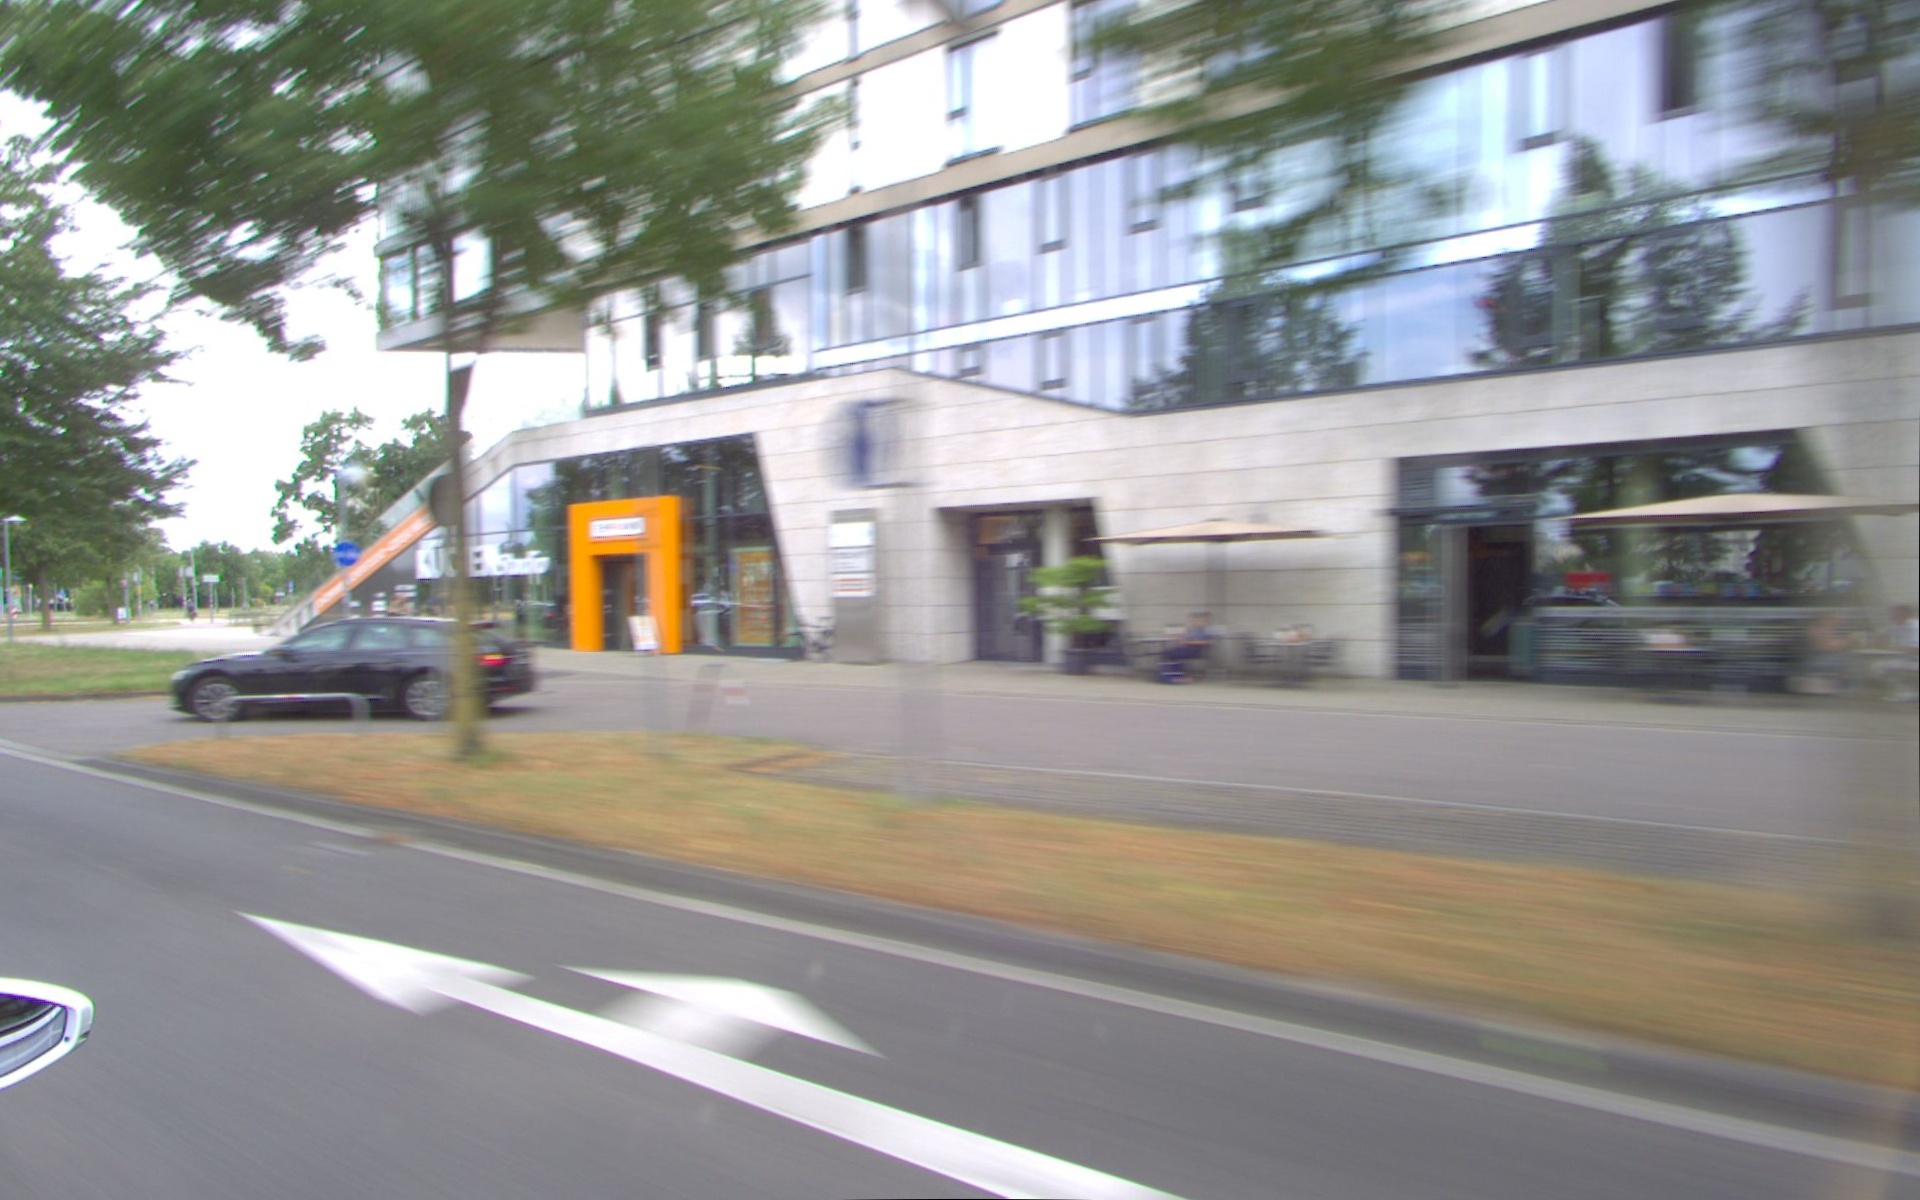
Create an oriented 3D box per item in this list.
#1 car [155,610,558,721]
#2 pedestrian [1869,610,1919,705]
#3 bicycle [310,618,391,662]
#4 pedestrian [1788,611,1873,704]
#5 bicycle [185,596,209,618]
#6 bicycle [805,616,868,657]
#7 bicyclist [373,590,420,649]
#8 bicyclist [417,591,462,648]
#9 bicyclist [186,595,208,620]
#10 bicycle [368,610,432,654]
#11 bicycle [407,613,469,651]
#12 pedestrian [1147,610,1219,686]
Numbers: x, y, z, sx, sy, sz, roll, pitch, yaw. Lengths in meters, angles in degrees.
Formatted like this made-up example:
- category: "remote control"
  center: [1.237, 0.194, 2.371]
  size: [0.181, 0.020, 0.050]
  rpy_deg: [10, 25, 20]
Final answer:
- category: "car"
  center: [-8.778, 0.917, 14.936]
  size: [4.776, 1.495, 1.947]
  rpy_deg: [0, 0, -3]
- category: "pedestrian"
  center: [12.443, 0.736, 13.070]
  size: [0.748, 1.208, 0.717]
  rpy_deg: [0, 1, 34]
- category: "bicycle"
  center: [-14.199, 0.920, 23.322]
  size: [2.075, 0.968, 0.629]
  rpy_deg: [0, 1, 28]
- category: "pedestrian"
  center: [11.741, 0.753, 13.531]
  size: [0.748, 1.208, 0.717]
  rpy_deg: [0, 1, 31]
- category: "bicycle"
  center: [-55.184, 0.512, 72.395]
  size: [1.979, 1.525, 0.704]
  rpy_deg: [-1, -2, 32]
- category: "bicycle"
  center: [-2.892, 0.848, 23.469]
  size: [1.472, 0.922, 0.517]
  rpy_deg: [0, 1, 33]
- category: "bicyclist"
  center: [-15.481, 0.530, 27.521]
  size: [0.975, 1.603, 0.723]
  rpy_deg: [0, 2, 32]
- category: "bicyclist"
  center: [-14.878, 0.557, 28.616]
  size: [0.975, 1.603, 0.723]
  rpy_deg: [0, 1, 32]
- category: "bicyclist"
  center: [-55.051, 0.539, 72.273]
  size: [1.157, 1.813, 0.865]
  rpy_deg: [0, 1, 31]
- category: "bicycle"
  center: [-15.358, 0.854, 27.450]
  size: [1.978, 1.158, 0.672]
  rpy_deg: [0, 1, 33]
- category: "bicycle"
  center: [-14.965, 0.909, 28.714]
  size: [1.978, 1.056, 0.672]
  rpy_deg: [0, 1, 33]
- category: "pedestrian"
  center: [3.844, 0.803, 17.265]
  size: [0.938, 1.245, 0.894]
  rpy_deg: [0, 1, 37]
